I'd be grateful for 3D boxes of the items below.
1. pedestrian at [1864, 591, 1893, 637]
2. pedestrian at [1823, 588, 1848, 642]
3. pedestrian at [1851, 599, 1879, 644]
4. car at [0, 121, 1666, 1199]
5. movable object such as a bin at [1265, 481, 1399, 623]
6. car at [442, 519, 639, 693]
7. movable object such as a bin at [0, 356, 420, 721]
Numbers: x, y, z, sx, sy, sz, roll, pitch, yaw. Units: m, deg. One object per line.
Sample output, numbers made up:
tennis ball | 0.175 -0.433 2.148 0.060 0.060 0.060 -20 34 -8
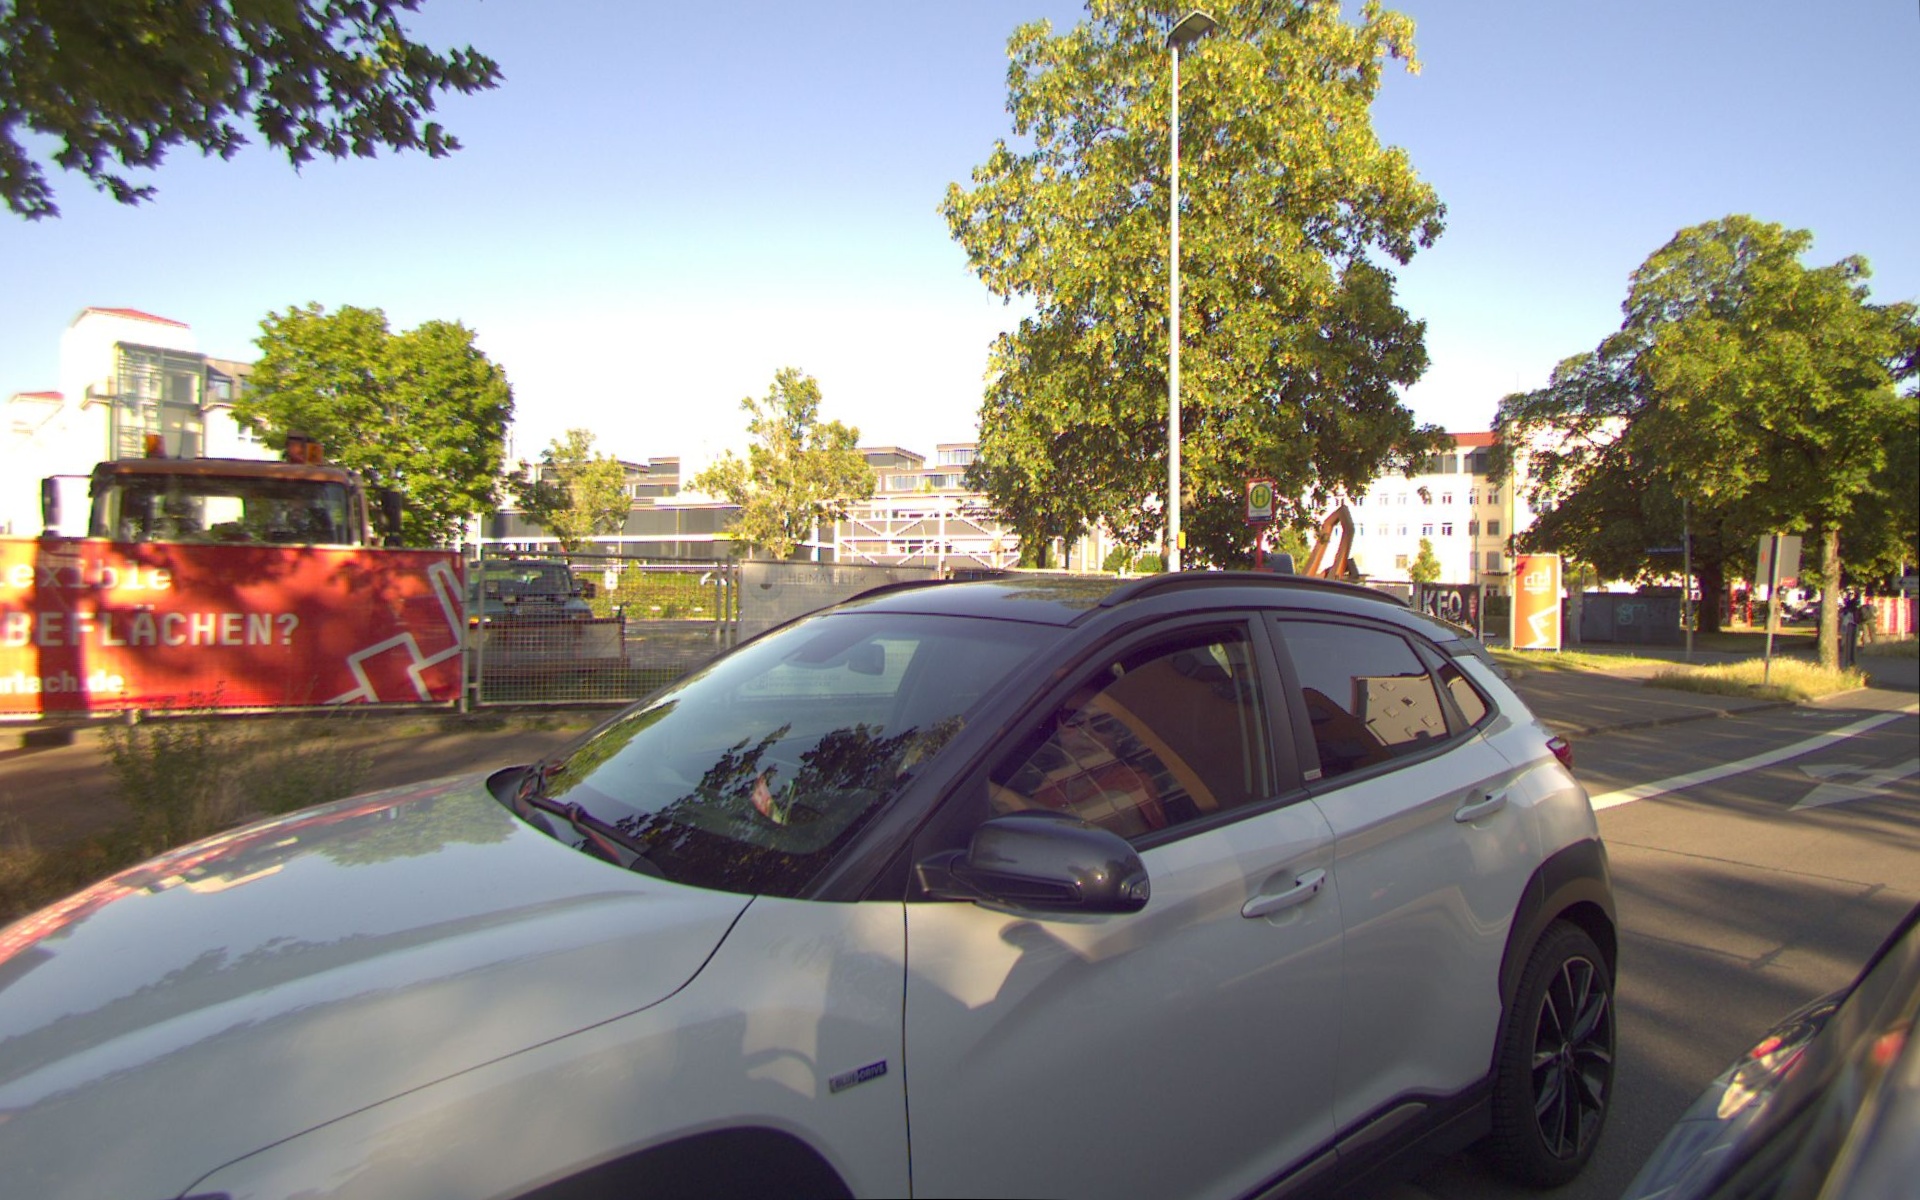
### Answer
pedestrian | 33.930 0.518 37.393 0.627 1.689 0.695 0 0 -38
pedestrian | 29.065 0.495 33.597 0.607 1.759 0.629 0 0 44
pedestrian | 29.278 0.684 32.744 0.627 1.452 0.609 0 0 -40
car | -0.039 0.521 2.460 3.893 1.618 1.894 3 -2 -39
movable object such as a bin | 15.522 -1.891 42.765 3.910 5.547 6.022 0 0 6
car | -5.666 0.039 13.296 2.001 1.851 4.612 0 0 -28
movable object such as a bin | -8.390 -0.552 12.057 3.154 3.087 6.295 0 0 -31
